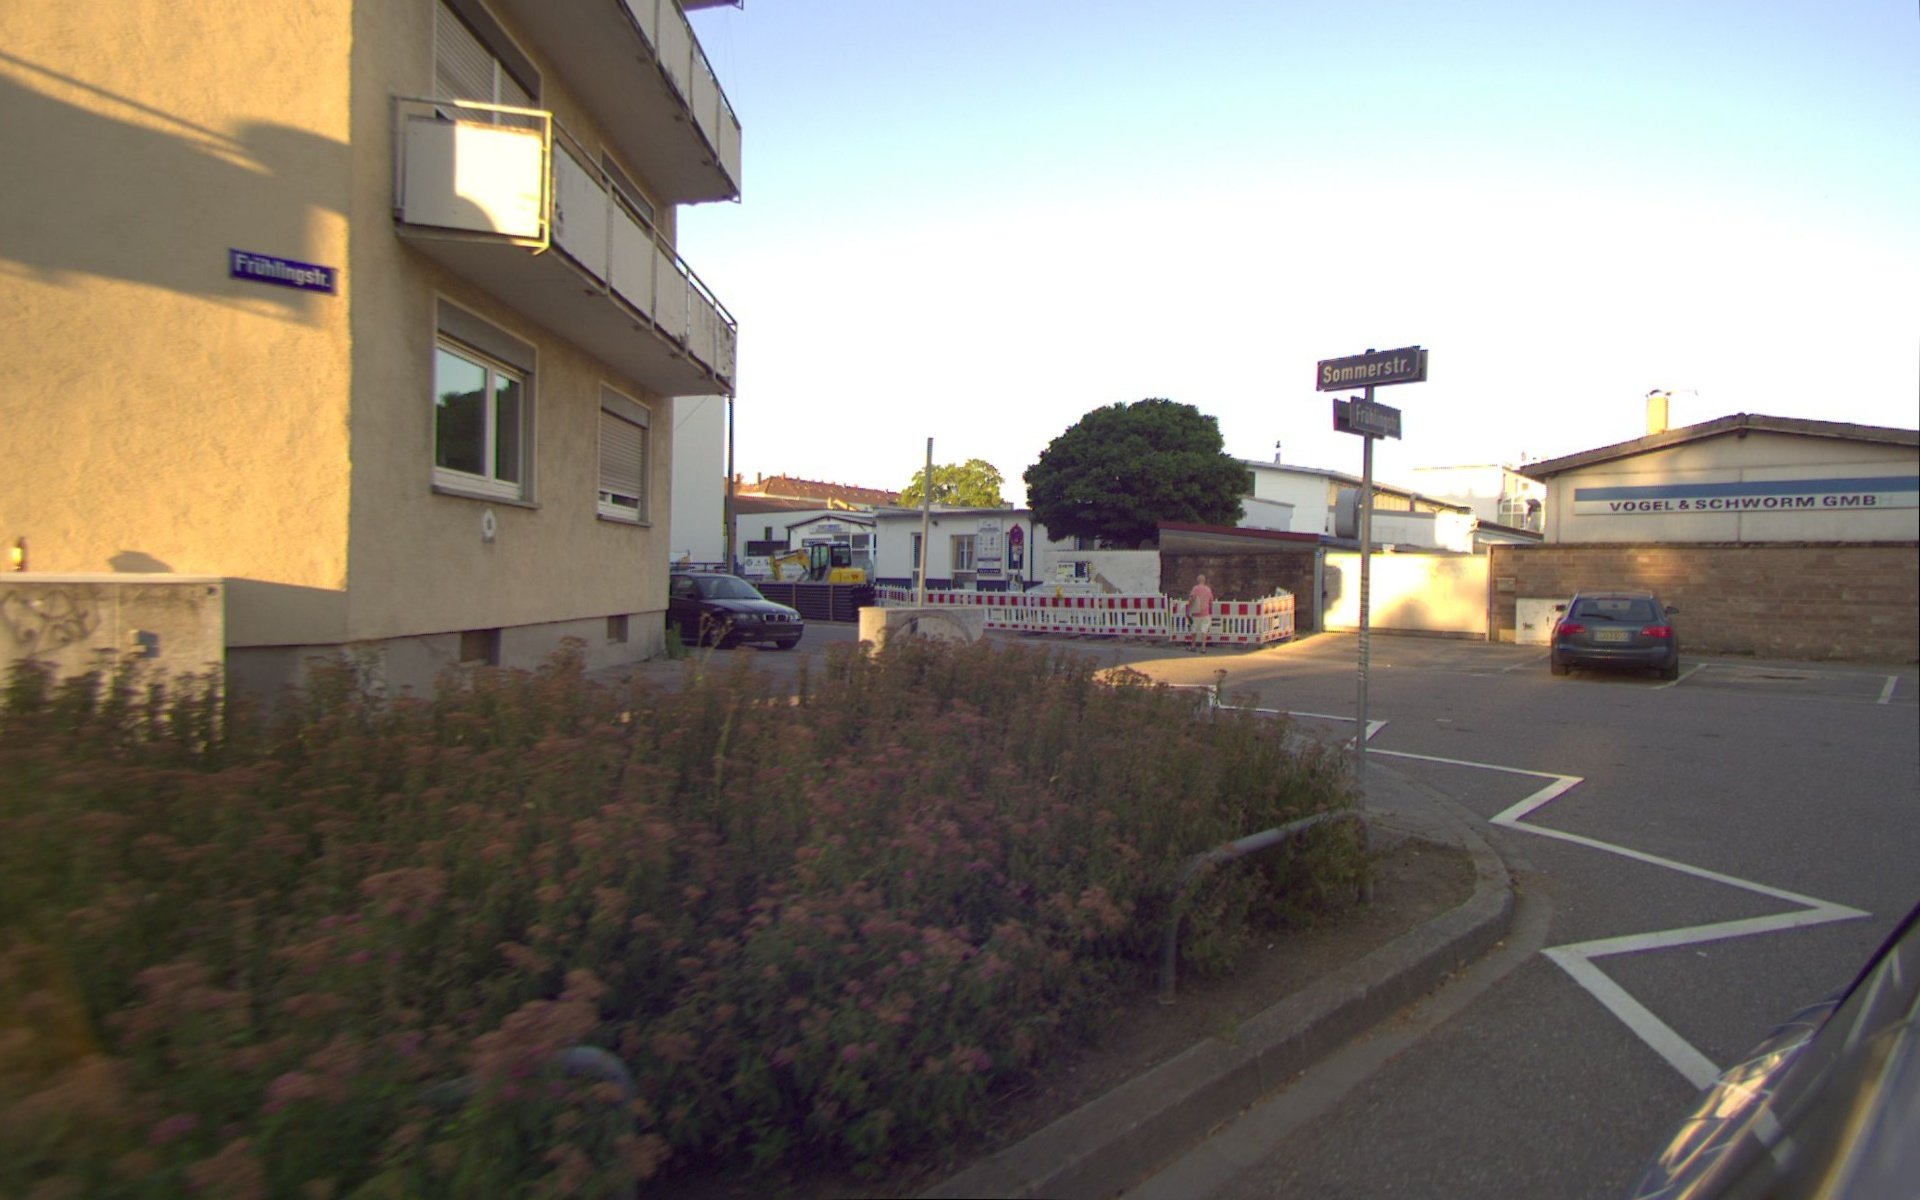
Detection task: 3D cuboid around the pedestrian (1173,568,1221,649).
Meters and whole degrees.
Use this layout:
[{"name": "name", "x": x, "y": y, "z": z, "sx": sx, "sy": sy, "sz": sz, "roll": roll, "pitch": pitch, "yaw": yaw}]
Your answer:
[{"name": "pedestrian", "x": 5.101, "y": 0.179, "z": 21.834, "sx": 0.770, "sy": 1.686, "sz": 0.630, "roll": 3, "pitch": -1, "yaw": -6}]

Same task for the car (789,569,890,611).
[{"name": "car", "x": -5.229, "y": -0.428, "z": 43.986, "sx": 3.920, "sy": 1.725, "sz": 1.851, "roll": 1, "pitch": 1, "yaw": -31}]

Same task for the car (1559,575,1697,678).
[{"name": "car", "x": 11.991, "y": 0.351, "z": 18.195, "sx": 1.820, "sy": 1.549, "sz": 4.672, "roll": 2, "pitch": 3, "yaw": 34}]

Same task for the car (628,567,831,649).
[{"name": "car", "x": -4.544, "y": 0.127, "z": 19.633, "sx": 3.989, "sy": 1.389, "sz": 1.967, "roll": 2, "pitch": -1, "yaw": 45}]

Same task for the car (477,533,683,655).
[{"name": "car", "x": -9.223, "y": -0.168, "z": 24.191, "sx": 6.019, "sy": 2.562, "sz": 2.196, "roll": 2, "pitch": -1, "yaw": 45}]

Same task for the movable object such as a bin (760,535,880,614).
[{"name": "movable object such as a bin", "x": -5.295, "y": -0.917, "z": 37.597, "sx": 2.620, "sy": 2.693, "sz": 5.207, "roll": 1, "pitch": 1, "yaw": -29}]
